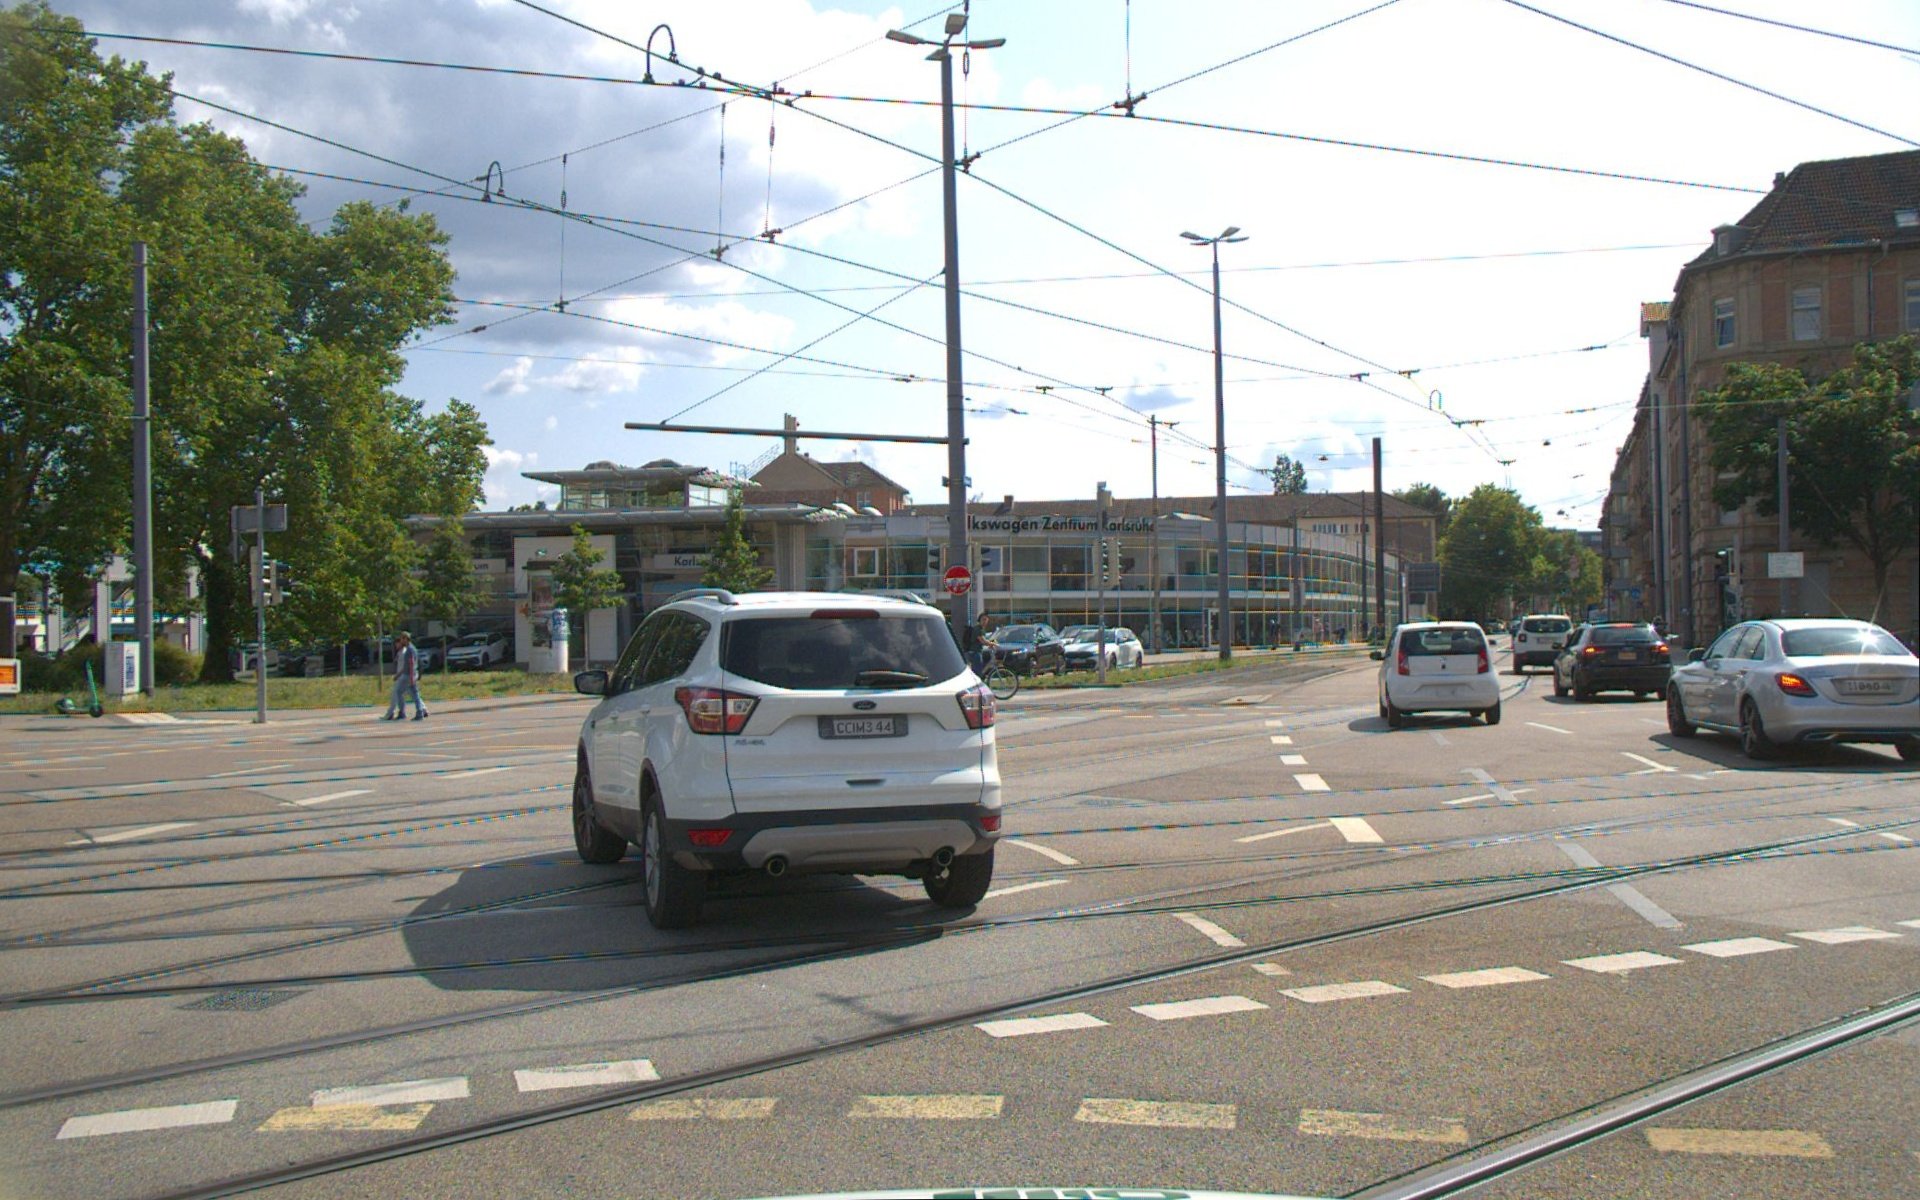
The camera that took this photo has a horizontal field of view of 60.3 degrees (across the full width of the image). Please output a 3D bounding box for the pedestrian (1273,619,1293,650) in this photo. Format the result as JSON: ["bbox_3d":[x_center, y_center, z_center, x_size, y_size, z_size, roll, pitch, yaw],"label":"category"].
[{"bbox_3d":[18.996,2.020,97.164,0.861,1.768,0.872,-1,-2,37],"label":"pedestrian"}]

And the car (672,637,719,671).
[{"bbox_3d":[-12.854,2.649,80.649,1.782,1.561,3.914,-3,-2,-3],"label":"car"}]

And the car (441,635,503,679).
[{"bbox_3d":[-24.339,2.839,82.582,1.954,2.049,4.228,-3,-2,-3],"label":"car"}]

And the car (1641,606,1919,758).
[{"bbox_3d":[9.243,0.841,18.605,1.889,1.481,4.763,-1,-1,10],"label":"car"}]

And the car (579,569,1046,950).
[{"bbox_3d":[-1.082,0.776,9.633,1.800,1.693,3.933,-1,-2,-19],"label":"car"}]

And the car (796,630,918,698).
[{"bbox_3d":[-2.324,1.450,38.249,1.700,1.397,3.644,-2,-1,15],"label":"car"}]

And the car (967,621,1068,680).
[{"bbox_3d":[1.631,1.357,45.721,1.654,1.487,3.970,-3,-1,19],"label":"car"}]

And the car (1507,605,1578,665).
[{"bbox_3d":[17.049,1.055,48.515,1.798,1.681,4.001,-1,-2,17],"label":"car"}]

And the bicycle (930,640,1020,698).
[{"bbox_3d":[0.307,1.410,33.738,1.740,1.145,0.640,-1,-1,9],"label":"bicycle"}]

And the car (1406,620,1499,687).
[{"bbox_3d":[11.214,1.202,37.499,1.811,1.444,3.679,-1,-2,20],"label":"car"}]

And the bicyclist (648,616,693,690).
[{"bbox_3d":[-6.863,1.243,39.248,0.743,1.713,0.761,-2,-1,16],"label":"bicyclist"}]

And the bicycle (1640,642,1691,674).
[{"bbox_3d":[18.053,1.477,42.350,0.573,0.789,1.621,-1,-1,0],"label":"bicycle"}]

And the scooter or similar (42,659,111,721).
[{"bbox_3d":[-17.916,1.822,33.548,1.148,1.215,0.399,1,-2,-4],"label":"scooter or similar"}]

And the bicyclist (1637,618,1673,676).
[{"bbox_3d":[17.804,1.200,42.371,0.595,1.476,0.774,-1,-2,3],"label":"bicyclist"}]

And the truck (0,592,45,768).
[{"bbox_3d":[-14.808,1.066,20.816,5.708,2.193,2.348,-2,-2,14],"label":"truck"}]

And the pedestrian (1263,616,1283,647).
[{"bbox_3d":[18.020,1.840,95.254,0.861,1.768,0.872,-1,-2,37],"label":"pedestrian"}]

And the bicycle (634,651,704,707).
[{"bbox_3d":[-6.862,1.851,39.147,0.743,1.213,2.152,-2,-1,16],"label":"bicycle"}]

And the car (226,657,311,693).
[{"bbox_3d":[-38.114,4.118,91.168,3.902,1.821,1.843,-3,-2,9],"label":"car"}]

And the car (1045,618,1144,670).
[{"bbox_3d":[4.262,1.359,51.933,1.861,1.487,3.967,-3,-2,24],"label":"car"}]

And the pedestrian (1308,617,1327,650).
[{"bbox_3d":[21.574,2.031,99.756,0.860,1.956,0.873,-1,-2,34],"label":"pedestrian"}]

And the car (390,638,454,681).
[{"bbox_3d":[-26.934,2.989,82.898,1.928,1.971,4.228,-3,-2,-3],"label":"car"}]

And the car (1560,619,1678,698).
[{"bbox_3d":[12.531,1.076,31.656,1.663,1.396,4.135,-2,-1,16],"label":"car"}]

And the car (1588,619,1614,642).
[{"bbox_3d":[48.715,2.359,125.737,1.799,1.681,3.999,-1,-2,21],"label":"car"}]

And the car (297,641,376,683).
[{"bbox_3d":[-31.483,3.126,83.635,1.927,1.971,5.068,-3,-2,1],"label":"car"}]

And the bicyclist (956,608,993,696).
[{"bbox_3d":[0.297,1.057,33.761,0.646,1.768,0.640,0,-1,9],"label":"bicyclist"}]

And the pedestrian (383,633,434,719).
[{"bbox_3d":[-11.473,1.574,34.435,0.912,1.774,0.584,2,-2,-26],"label":"pedestrian"}]

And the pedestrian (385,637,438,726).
[{"bbox_3d":[-11.069,1.638,33.382,0.912,1.774,0.584,2,-2,-26],"label":"pedestrian"}]

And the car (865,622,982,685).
[{"bbox_3d":[-0.973,1.475,46.431,1.702,1.601,3.998,-3,-1,24],"label":"car"}]

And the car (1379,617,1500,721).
[{"bbox_3d":[7.406,1.006,25.511,1.614,1.447,4.002,-2,-1,17],"label":"car"}]
